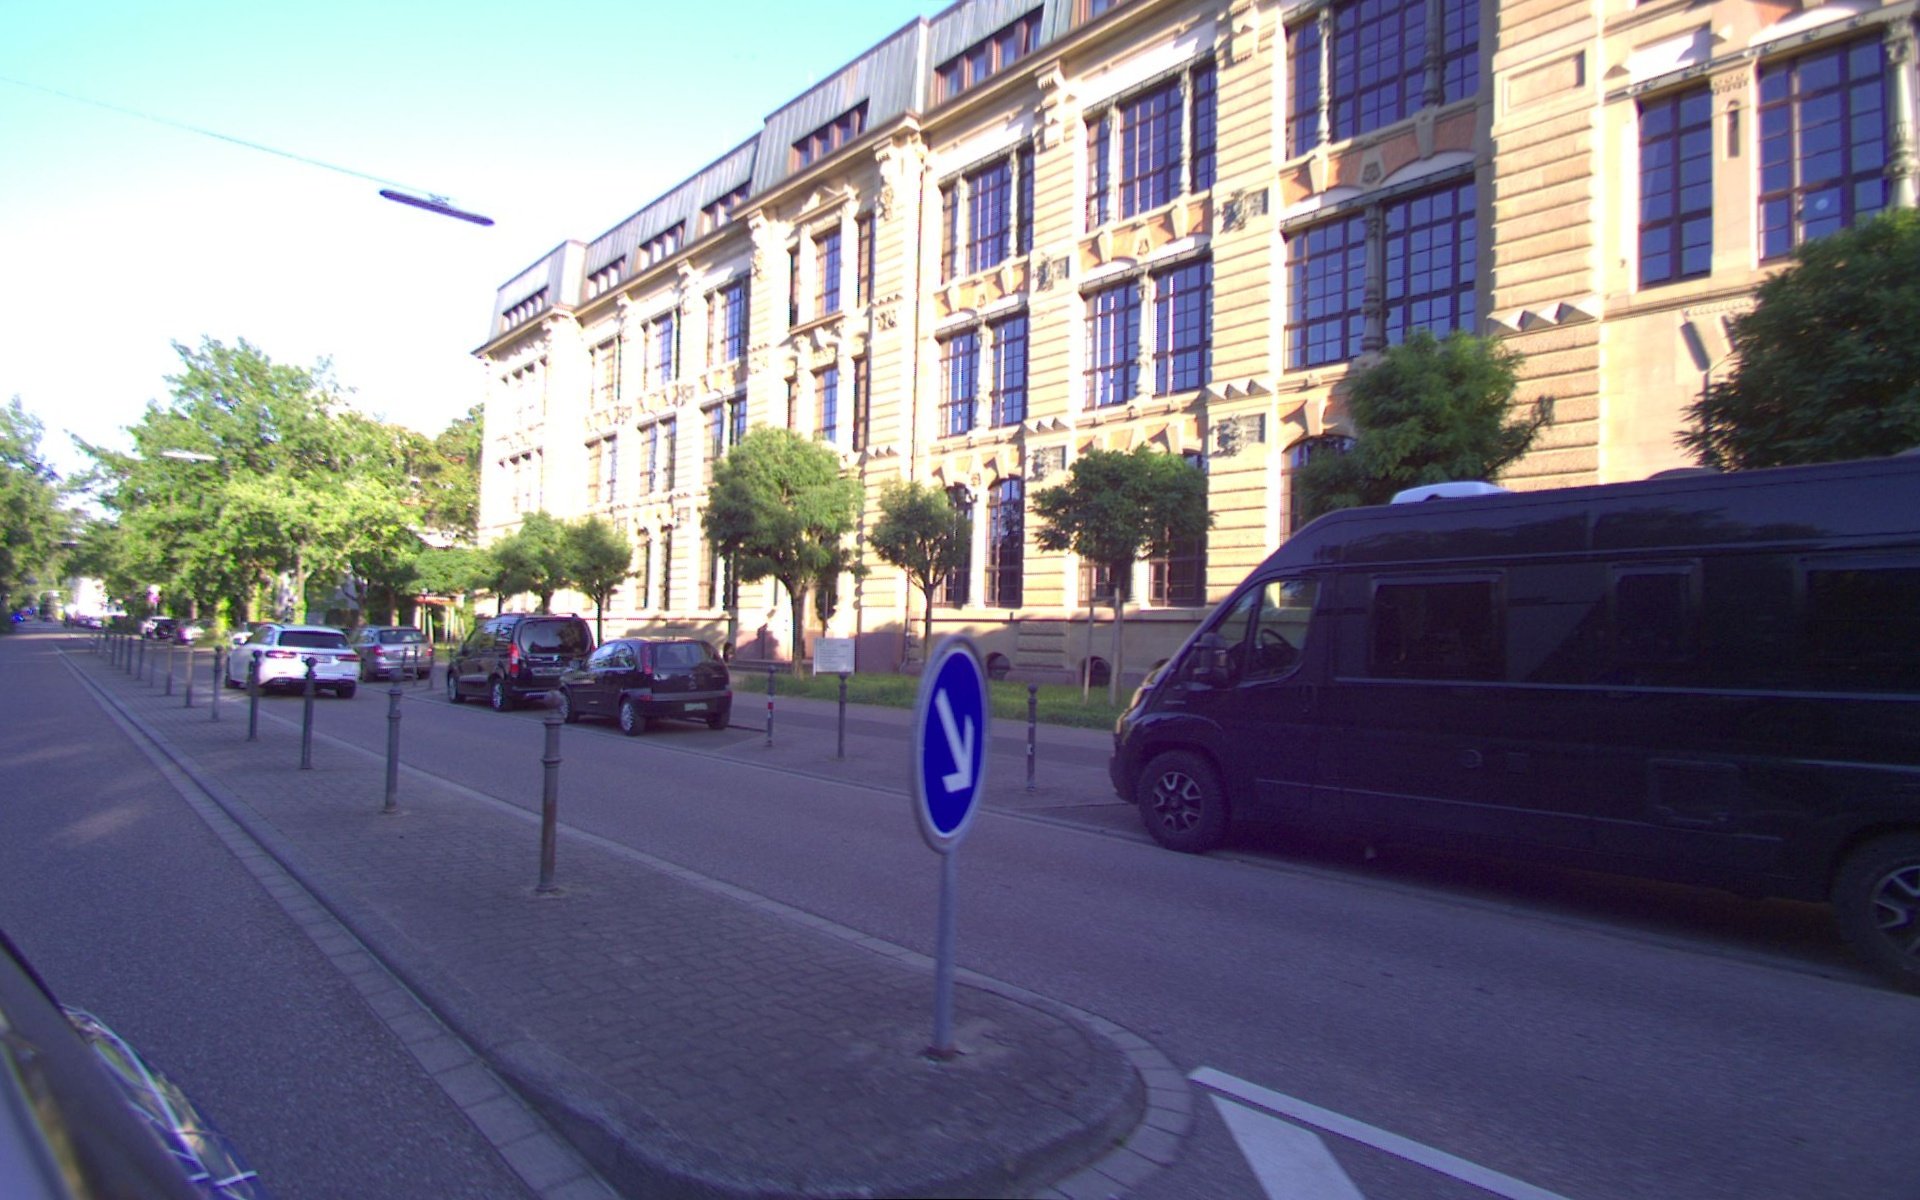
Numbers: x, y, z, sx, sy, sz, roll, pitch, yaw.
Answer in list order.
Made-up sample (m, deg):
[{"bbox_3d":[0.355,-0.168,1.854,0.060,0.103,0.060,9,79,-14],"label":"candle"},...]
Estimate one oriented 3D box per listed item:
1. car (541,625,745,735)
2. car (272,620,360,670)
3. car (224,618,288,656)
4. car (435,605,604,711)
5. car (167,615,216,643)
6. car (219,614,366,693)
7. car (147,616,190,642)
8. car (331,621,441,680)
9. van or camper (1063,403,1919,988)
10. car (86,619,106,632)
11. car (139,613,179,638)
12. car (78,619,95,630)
[{"bbox_3d":[-5.128,1.164,16.090,1.675,1.481,3.859,1,-1,-41],"label":"car"},{"bbox_3d":[-21.242,1.446,33.327,1.598,1.507,4.381,3,-3,-43],"label":"car"},{"bbox_3d":[-29.712,1.530,42.653,1.598,1.507,3.928,3,-3,-43],"label":"car"},{"bbox_3d":[-8.872,1.071,20.205,1.756,1.880,4.336,0,-1,-43],"label":"car"},{"bbox_3d":[-43.750,1.620,57.596,1.780,1.522,4.868,3,-2,-42],"label":"car"},{"bbox_3d":[-14.142,1.084,21.340,1.720,1.469,4.628,5,-4,-44],"label":"car"},{"bbox_3d":[-51.216,1.870,65.482,1.759,1.628,4.151,3,-2,-43],"label":"car"},{"bbox_3d":[-16.104,1.357,28.305,1.698,1.507,4.382,3,-3,-42],"label":"car"},{"bbox_3d":[4.055,0.446,6.207,2.203,2.564,7.086,2,-2,-44],"label":"van or camper"},{"bbox_3d":[-109.408,3.232,128.167,1.750,1.494,4.112,2,-3,-43],"label":"car"},{"bbox_3d":[-56.630,1.790,71.538,1.782,1.628,4.151,4,-3,-43],"label":"car"},{"bbox_3d":[-129.611,3.656,150.100,1.750,1.580,4.112,2,-3,-43],"label":"car"}]
